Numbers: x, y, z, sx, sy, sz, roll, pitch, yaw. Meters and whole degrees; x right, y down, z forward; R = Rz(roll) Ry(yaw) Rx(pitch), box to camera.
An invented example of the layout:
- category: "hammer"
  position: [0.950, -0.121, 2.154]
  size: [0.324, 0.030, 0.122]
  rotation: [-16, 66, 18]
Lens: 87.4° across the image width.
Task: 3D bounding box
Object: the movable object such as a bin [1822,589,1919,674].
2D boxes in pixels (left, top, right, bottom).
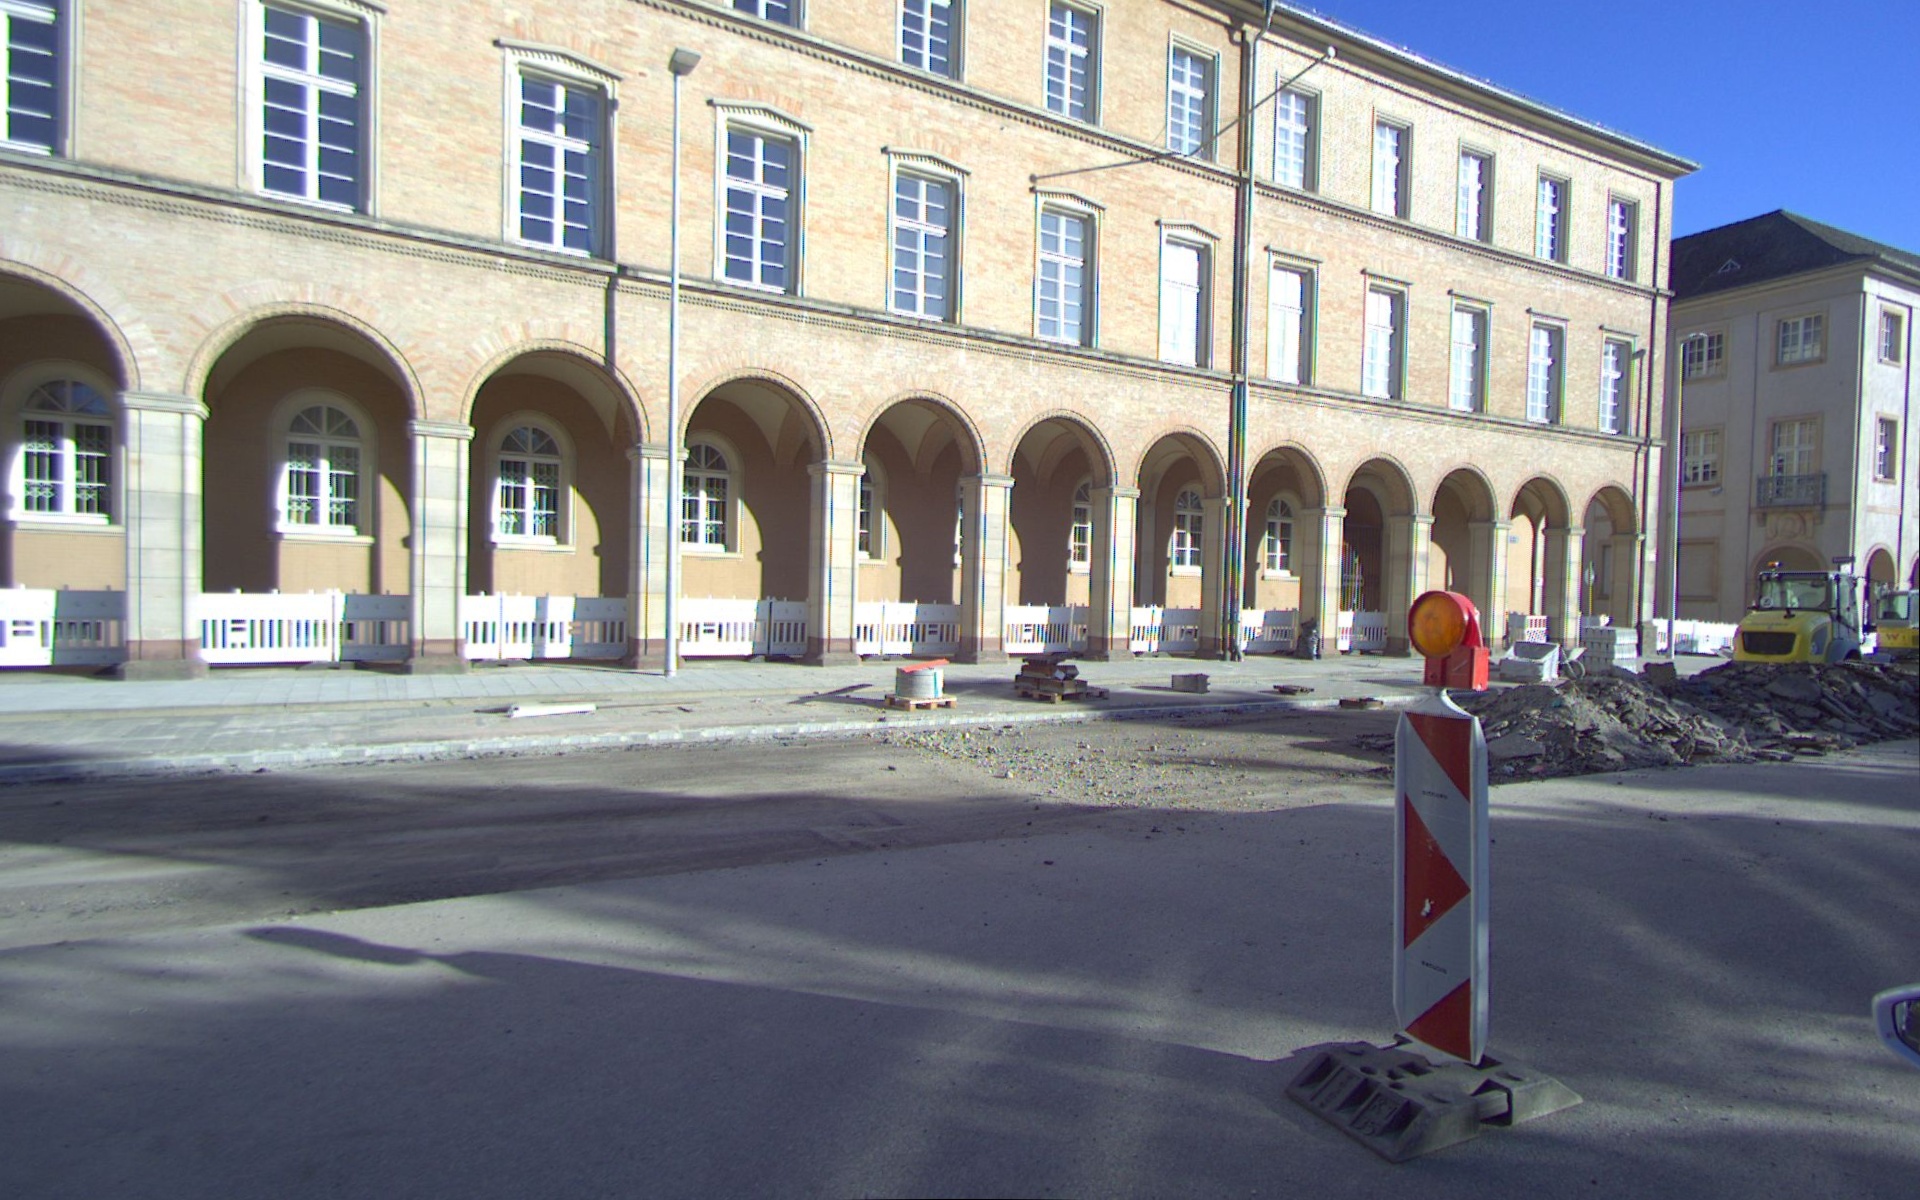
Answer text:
- category: "movable object such as a bin"
  position: [28.671, 0.917, 30.205]
  size: [4.399, 2.380, 2.539]
  rotation: [1, 1, -25]

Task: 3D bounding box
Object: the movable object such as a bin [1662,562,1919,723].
- category: "movable object such as a bin"
  position: [14.721, 0.642, 17.575]
  size: [4.557, 2.509, 2.067]
  rotation: [0, 1, -27]
